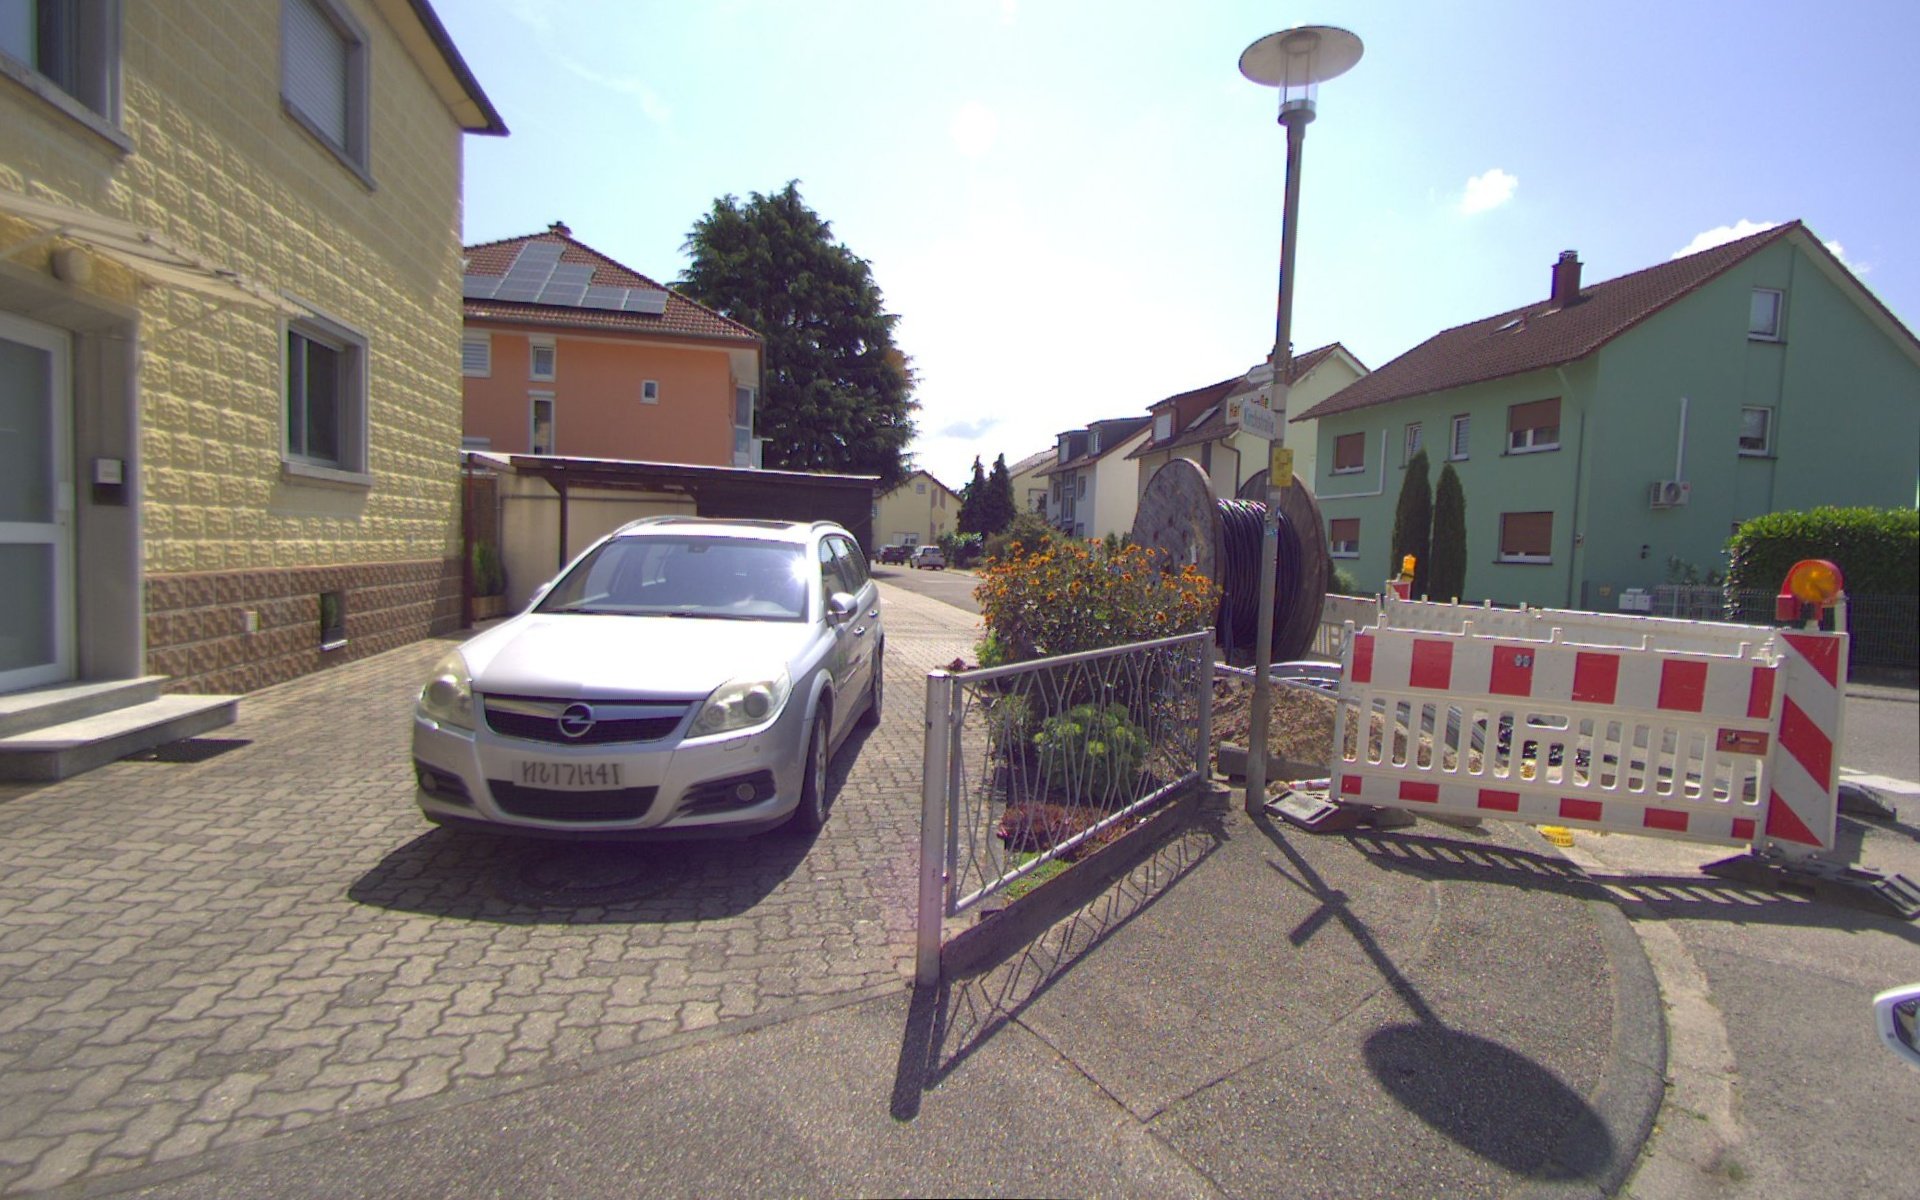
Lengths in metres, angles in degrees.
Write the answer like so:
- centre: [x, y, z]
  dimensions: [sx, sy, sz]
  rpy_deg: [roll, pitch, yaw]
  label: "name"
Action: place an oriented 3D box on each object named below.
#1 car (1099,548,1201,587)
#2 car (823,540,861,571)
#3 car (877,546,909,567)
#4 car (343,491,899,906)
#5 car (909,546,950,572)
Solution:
- centre: [8.016, -1.399, 42.513]
  dimensions: [3.857, 1.530, 1.769]
  rpy_deg: [1, 3, -11]
  label: "car"
- centre: [-7.482, -2.837, 63.224]
  dimensions: [1.783, 1.787, 4.193]
  rpy_deg: [1, 3, -14]
  label: "car"
- centre: [-5.229, -3.361, 77.728]
  dimensions: [1.783, 1.515, 3.987]
  rpy_deg: [1, 3, -14]
  label: "car"
- centre: [-1.425, 0.271, 6.016]
  dimensions: [1.757, 1.505, 4.472]
  rpy_deg: [2, 3, 0]
  label: "car"
- centre: [-2.036, -2.672, 65.257]
  dimensions: [1.783, 1.515, 3.987]
  rpy_deg: [1, 3, -14]
  label: "car"
